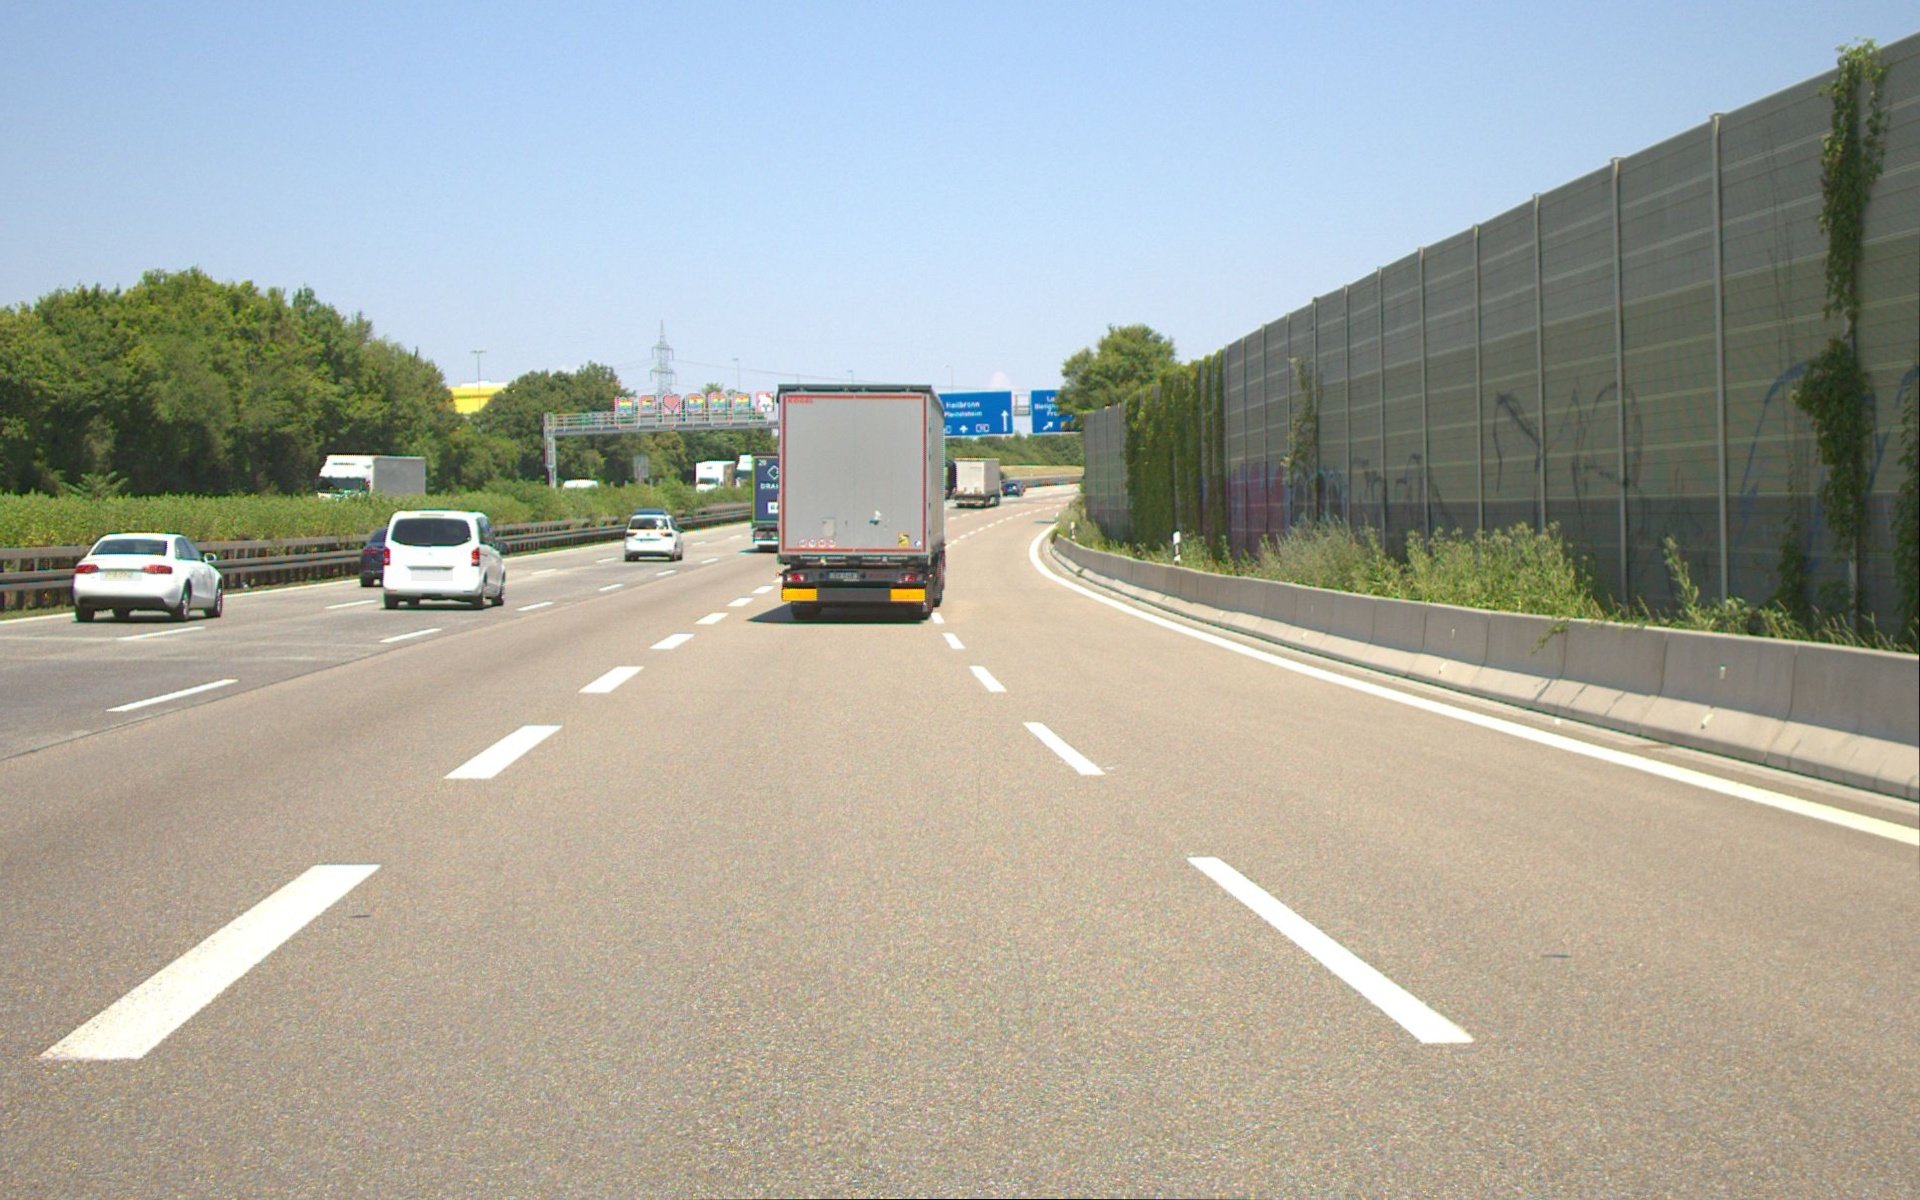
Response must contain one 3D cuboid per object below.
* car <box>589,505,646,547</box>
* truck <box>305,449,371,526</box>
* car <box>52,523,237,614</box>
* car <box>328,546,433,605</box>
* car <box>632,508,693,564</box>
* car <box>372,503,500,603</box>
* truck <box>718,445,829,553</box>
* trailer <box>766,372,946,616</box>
[{"bbox_3d":[-14.809,-3.215,148.671,1.904,1.683,4.632,-1,3,1],"label":"car"},{"bbox_3d":[-32.704,-5.910,180.907,2.538,3.934,5.167,0,2,0],"label":"truck"},{"bbox_3d":[-13.420,-0.535,56.862,1.876,1.435,5.126,0,1,-1],"label":"car"},{"bbox_3d":[-14.338,-0.588,85.256,1.757,1.404,5.040,-1,0,0],"label":"car"},{"bbox_3d":[-10.434,-2.270,120.983,1.904,1.845,4.632,-1,2,-2],"label":"car"},{"bbox_3d":[-10.009,-0.876,65.922,1.930,1.845,4.693,-1,0,-3],"label":"car"},{"bbox_3d":[-7.679,-4.328,143.998,3.747,4.255,14.497,1,2,0],"label":"truck"},{"bbox_3d":[-1.990,-1.877,62.800,2.927,4.001,12.040,-1,1,-3],"label":"trailer"}]
